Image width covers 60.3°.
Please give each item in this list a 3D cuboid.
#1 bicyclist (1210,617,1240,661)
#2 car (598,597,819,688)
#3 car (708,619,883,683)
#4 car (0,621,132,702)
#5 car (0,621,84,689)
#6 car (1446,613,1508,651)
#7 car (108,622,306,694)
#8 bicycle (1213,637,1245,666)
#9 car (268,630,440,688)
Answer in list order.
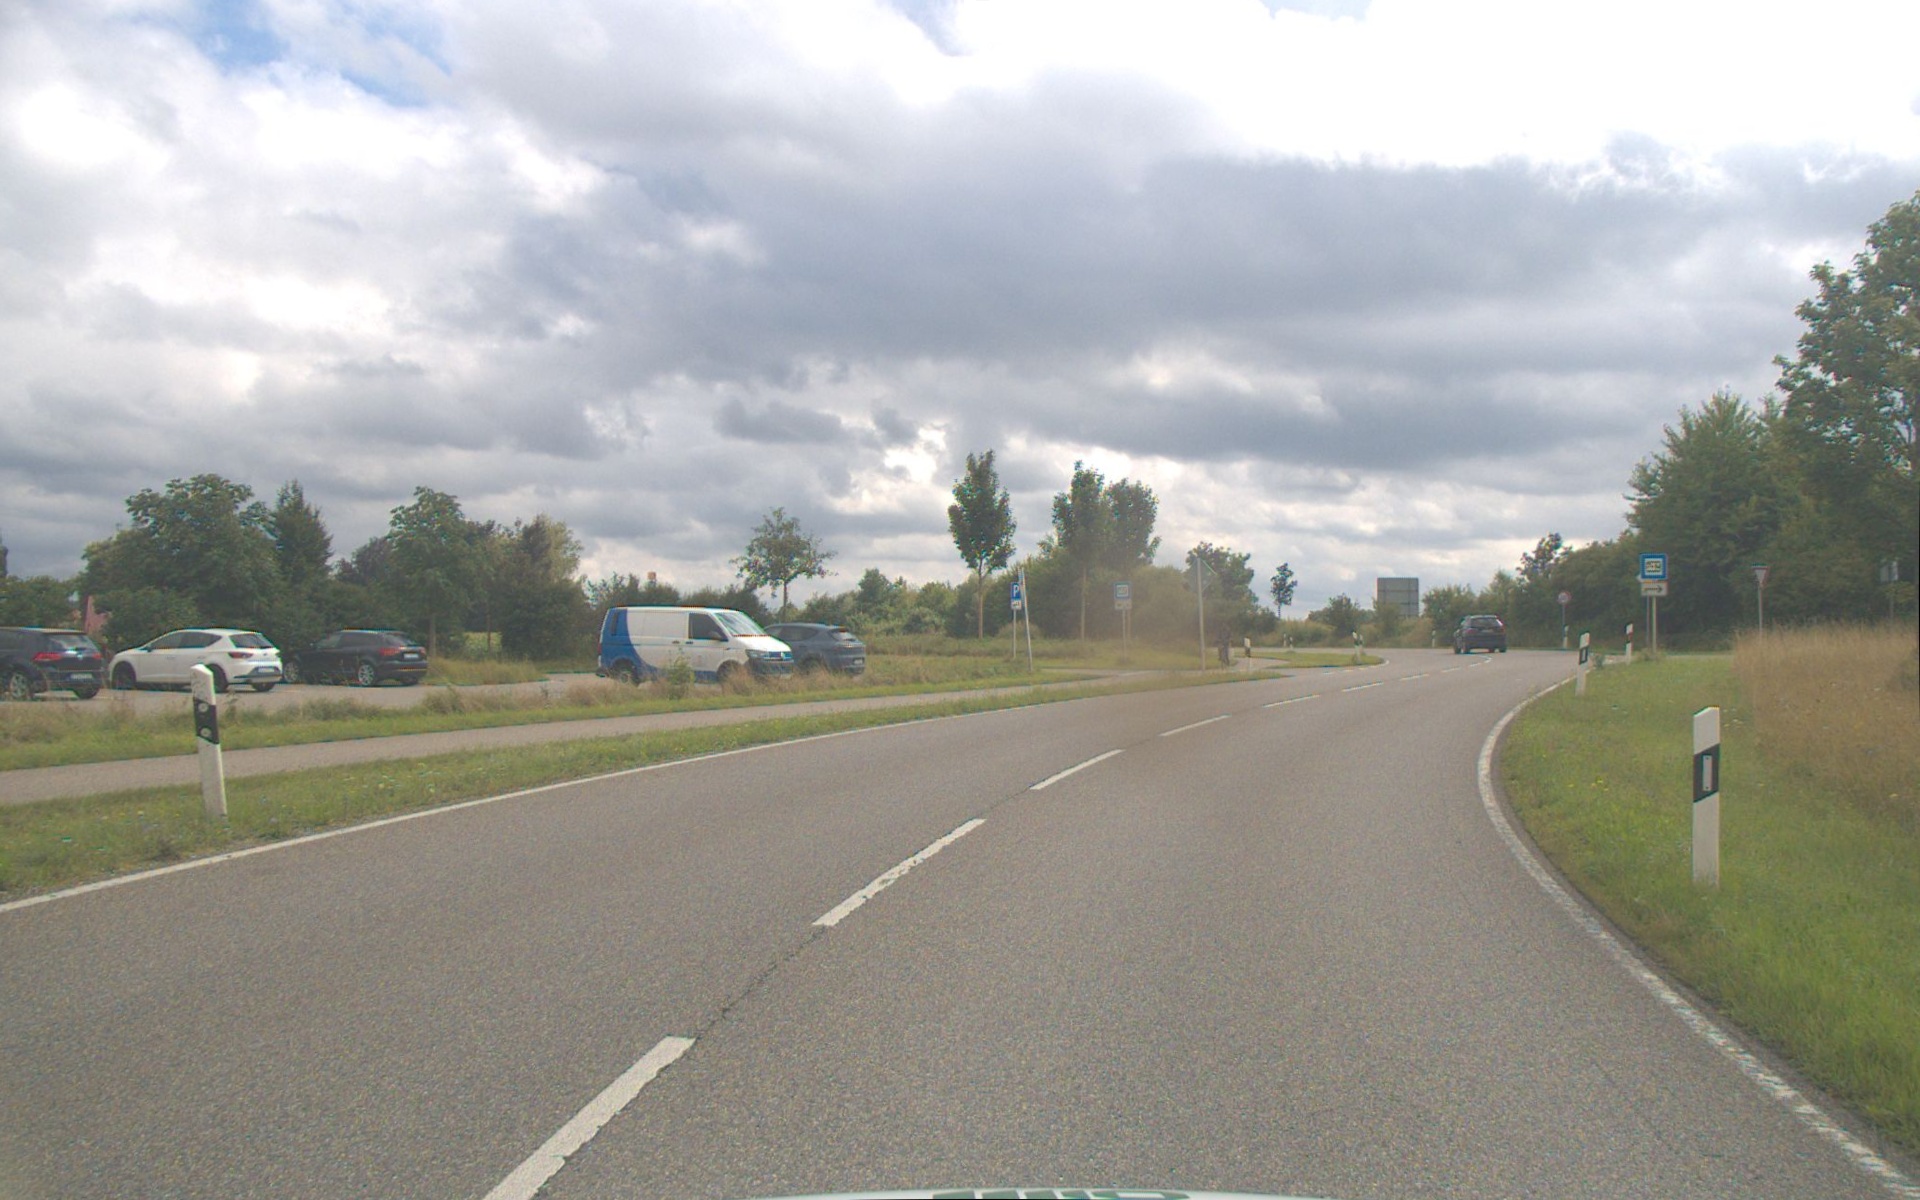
[{"bbox_3d":[9.913,1.456,61.931,0.814,1.593,1.054,-1,-1,27],"label":"bicyclist"},{"bbox_3d":[-5.927,1.005,38.989,4.794,2.049,2.056,-1,-1,23],"label":"car"},{"bbox_3d":[-4.333,1.344,43.586,4.162,1.623,1.999,-1,-1,24],"label":"car"},{"bbox_3d":[-19.404,1.234,34.275,3.907,1.579,1.965,0,-1,24],"label":"car"},{"bbox_3d":[-22.560,1.314,40.228,1.756,1.553,3.747,0,-1,-35],"label":"car"},{"bbox_3d":[23.510,1.450,75.351,1.866,1.695,4.002,0,-1,4],"label":"car"},{"bbox_3d":[-17.700,1.336,38.913,3.903,1.579,1.967,0,-1,17],"label":"car"},{"bbox_3d":[10.100,1.917,62.055,0.623,1.050,2.189,-1,-1,25],"label":"bicycle"},{"bbox_3d":[-15.870,1.523,43.338,3.903,1.412,1.843,0,-1,17],"label":"car"}]
